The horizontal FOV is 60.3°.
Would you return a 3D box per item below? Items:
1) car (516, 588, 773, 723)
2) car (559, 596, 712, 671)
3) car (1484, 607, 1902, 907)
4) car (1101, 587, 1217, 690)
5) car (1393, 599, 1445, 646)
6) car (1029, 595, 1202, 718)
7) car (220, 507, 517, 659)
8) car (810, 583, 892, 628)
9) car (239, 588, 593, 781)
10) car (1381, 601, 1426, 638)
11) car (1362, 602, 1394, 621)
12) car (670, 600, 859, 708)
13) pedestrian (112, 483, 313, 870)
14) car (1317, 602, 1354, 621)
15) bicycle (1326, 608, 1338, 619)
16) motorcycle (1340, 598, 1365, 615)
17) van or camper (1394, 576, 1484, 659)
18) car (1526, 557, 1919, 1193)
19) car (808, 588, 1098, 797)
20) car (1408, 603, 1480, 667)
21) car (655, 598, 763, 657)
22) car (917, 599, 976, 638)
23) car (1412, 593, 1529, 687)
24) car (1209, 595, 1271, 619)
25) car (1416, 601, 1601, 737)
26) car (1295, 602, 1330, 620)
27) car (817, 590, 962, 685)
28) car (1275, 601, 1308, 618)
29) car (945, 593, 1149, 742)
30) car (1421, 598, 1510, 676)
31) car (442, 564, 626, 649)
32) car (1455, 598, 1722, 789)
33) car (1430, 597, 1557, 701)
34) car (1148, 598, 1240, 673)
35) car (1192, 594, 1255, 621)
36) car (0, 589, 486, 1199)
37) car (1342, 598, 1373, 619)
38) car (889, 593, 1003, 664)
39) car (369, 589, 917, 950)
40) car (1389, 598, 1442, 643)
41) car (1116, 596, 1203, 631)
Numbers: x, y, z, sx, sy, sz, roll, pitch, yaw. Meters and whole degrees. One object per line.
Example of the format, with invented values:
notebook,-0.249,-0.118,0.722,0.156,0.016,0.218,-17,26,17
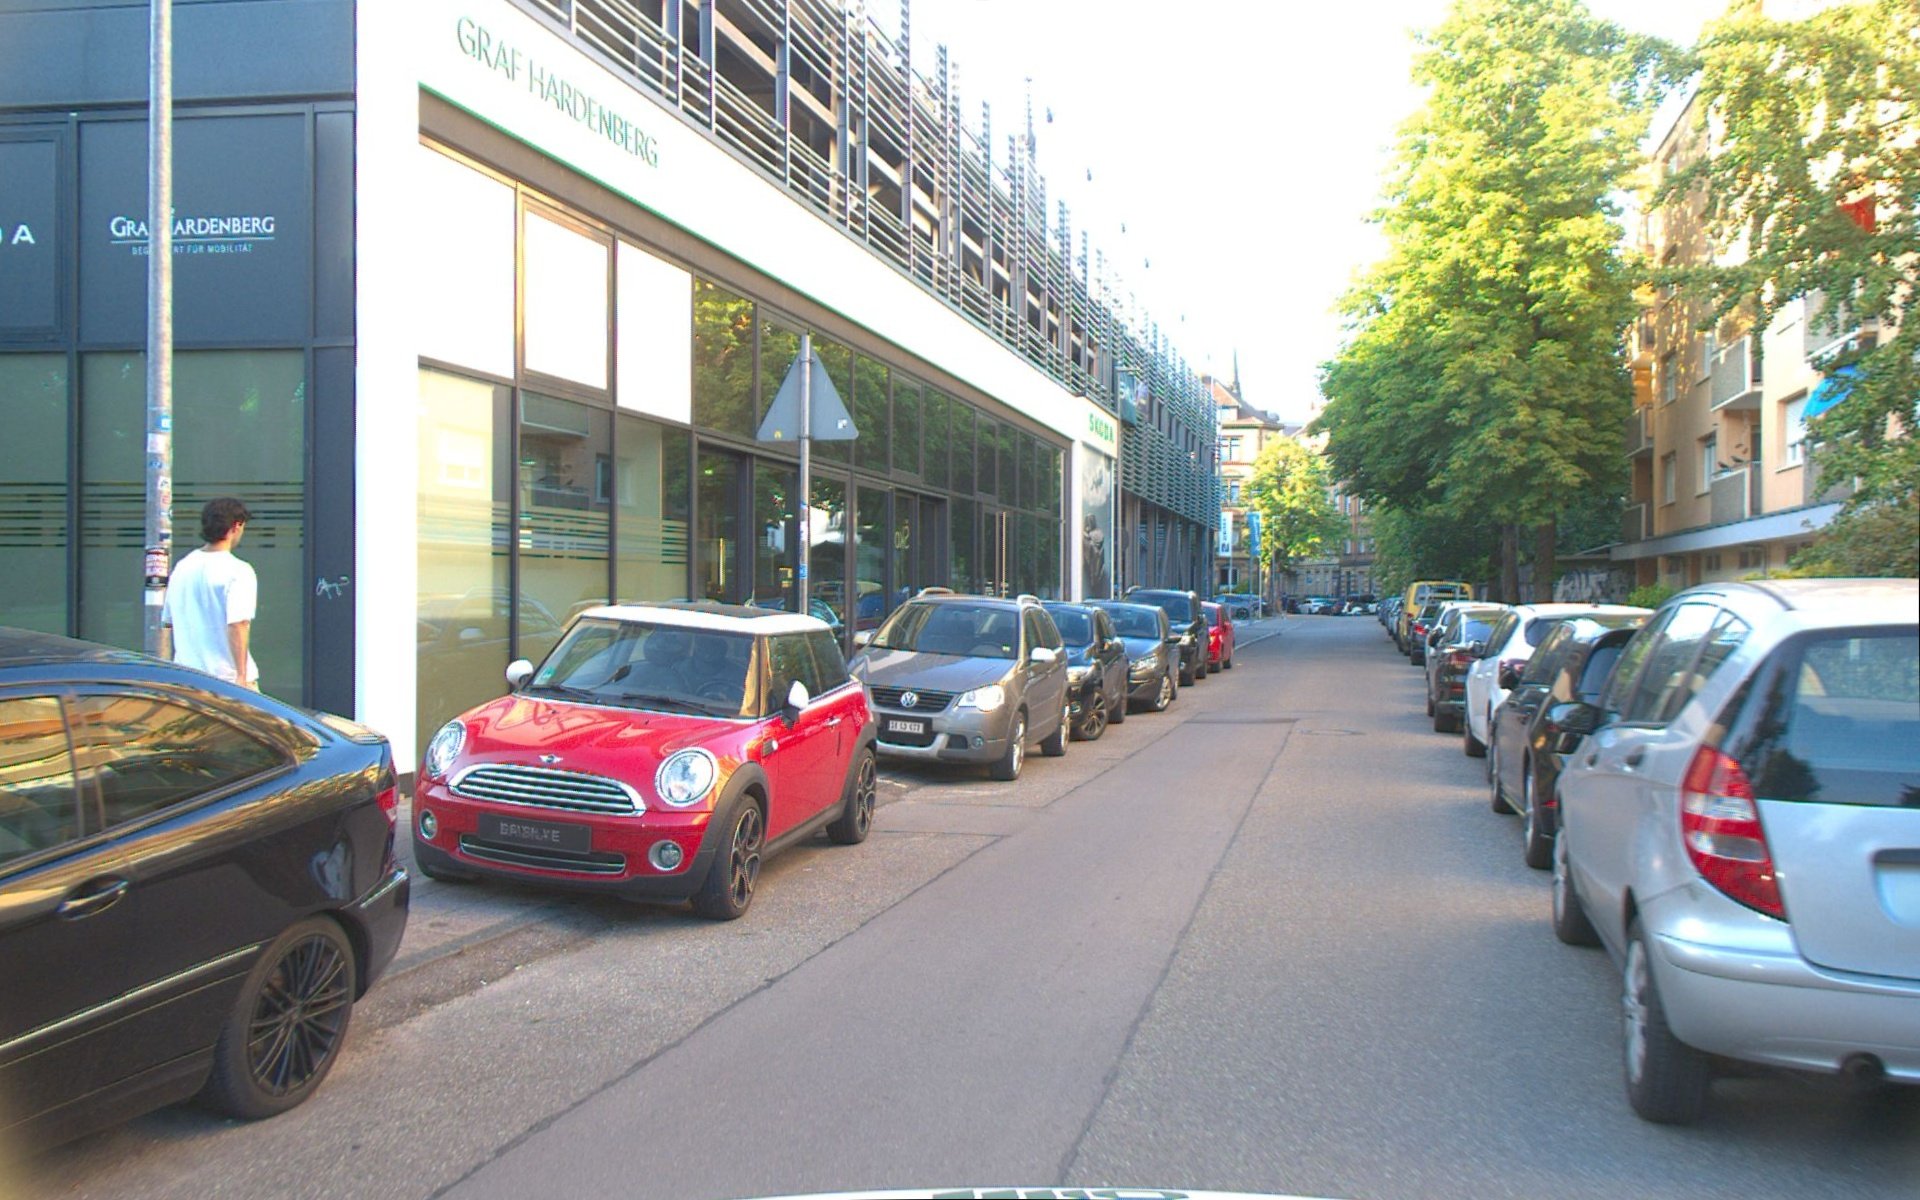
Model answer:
car,-3.897,0.630,21.176,1.661,1.541,4.195,0,0,13
car,-6.734,0.650,34.701,1.661,1.459,3.923,0,0,13
car,4.322,0.792,10.368,1.680,1.444,4.031,0,0,13
car,3.789,0.659,30.983,1.661,1.787,4.407,0,0,13
car,15.381,0.715,55.505,1.529,1.475,3.456,0,1,13
car,2.425,0.763,24.798,1.896,1.624,4.208,0,1,15
car,-7.119,-0.201,20.320,1.661,1.687,3.741,0,0,13
car,-3.171,0.140,48.688,1.389,1.277,3.529,0,1,14
car,-5.240,0.729,16.490,1.559,1.679,3.880,0,0,13
car,18.899,0.821,70.569,1.722,1.467,4.009,0,1,14
car,35.901,0.989,142.063,1.644,1.552,2.760,1,1,-10
car,-2.978,0.786,26.057,1.661,1.541,3.997,0,0,14
pedestrian,-3.854,0.375,8.558,0.705,1.911,0.621,0,1,15
car,31.362,0.964,138.109,1.624,1.456,3.981,0,1,-10
bicycle,29.878,1.081,132.755,0.417,0.836,1.457,0,1,35
motorcycle,31.909,0.489,134.471,1.891,1.364,0.577,0,1,3
van or camper,12.991,0.408,45.082,2.020,2.132,5.095,0,1,12
car,3.184,0.677,5.986,1.771,1.603,3.888,0,0,13
car,0.082,0.726,15.225,1.627,1.523,3.888,5,2,14
car,11.638,0.810,39.925,1.572,1.406,4.003,0,1,15
car,-5.871,0.620,39.020,1.389,1.277,3.217,0,1,14
car,-0.449,0.641,58.962,1.328,1.277,3.217,0,1,14
car,9.314,0.683,30.432,1.753,1.590,4.197,0,0,13
car,21.765,0.543,128.652,4.726,1.762,1.922,1,1,8
car,6.645,0.752,20.461,1.771,1.441,4.629,0,0,13
car,30.420,0.964,142.982,1.624,1.456,4.160,0,1,-8
car,-1.285,0.662,32.047,1.661,1.687,4.413,0,0,13
car,29.592,0.849,147.853,1.624,1.456,3.887,0,1,-10
car,1.148,0.714,19.781,1.692,1.427,4.010,5,2,12
car,10.626,0.745,34.951,1.575,1.537,3.481,0,0,13
car,-7.779,0.099,30.572,1.661,1.459,3.923,0,0,13
car,5.459,0.721,14.820,1.771,1.441,3.899,0,0,14
car,8.305,0.708,26.023,1.575,1.487,4.057,0,0,13
car,5.202,0.739,36.420,1.661,1.532,3.794,0,0,13
car,17.614,0.498,110.425,4.041,1.646,1.915,2,1,12
car,-2.999,0.769,3.861,1.627,1.440,4.418,5,2,12
car,35.050,0.736,145.846,1.644,1.814,3.008,0,1,-10
car,-0.259,0.594,36.776,1.661,1.499,3.785,0,0,13
car,-1.498,0.731,9.347,1.627,1.435,3.931,5,1,10
car,16.573,0.715,60.327,1.685,1.546,4.029,0,1,13
car,9.365,0.640,77.611,3.902,1.614,1.861,0,-2,12
